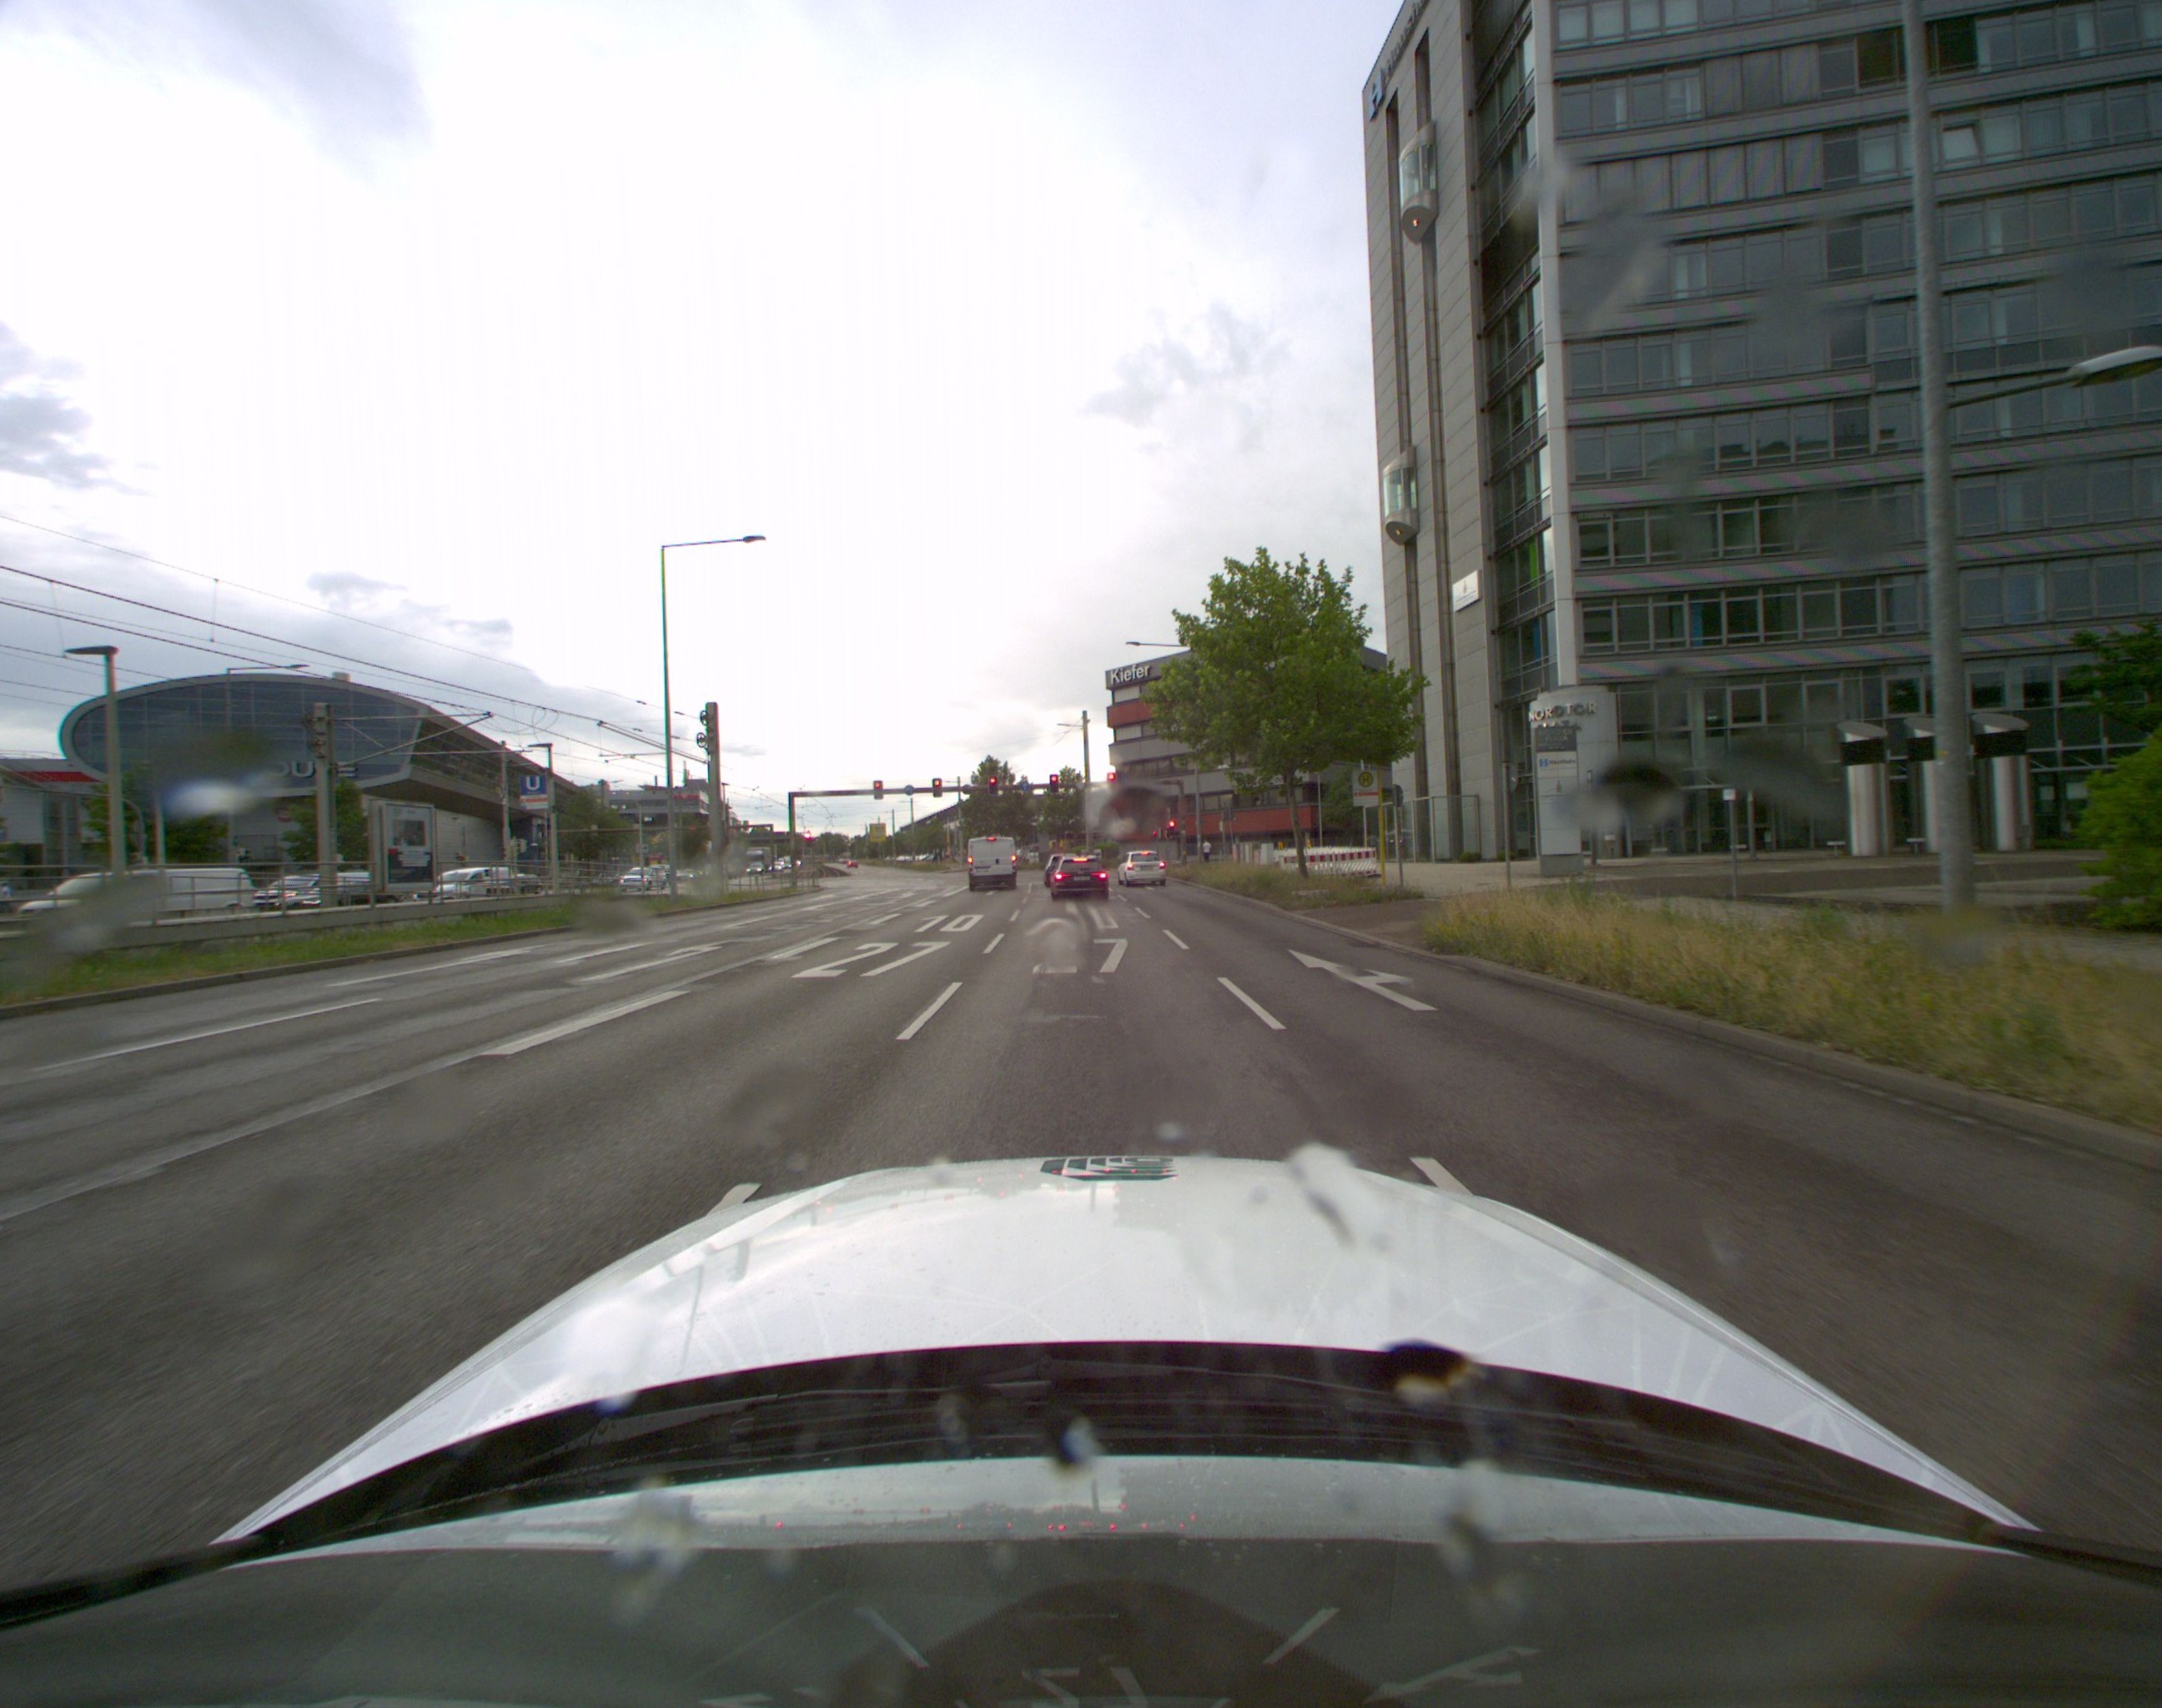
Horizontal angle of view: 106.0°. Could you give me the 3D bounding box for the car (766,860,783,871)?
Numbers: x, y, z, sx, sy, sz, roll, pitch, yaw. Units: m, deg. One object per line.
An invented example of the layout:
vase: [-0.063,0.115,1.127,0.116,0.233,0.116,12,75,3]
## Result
car: [-47.696,1.806,126.812,1.889,1.652,4.077,0,-1,-13]

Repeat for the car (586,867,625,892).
car: [-39.901,2.080,68.406,1.776,2.014,4.324,0,-1,-16]

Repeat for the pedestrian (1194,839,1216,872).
pedestrian: [8.319,0.083,54.579,1.140,2.125,1.221,-3,1,-2]

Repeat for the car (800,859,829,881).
car: [-26.162,1.558,80.009,1.770,2.013,4.340,0,0,-5]

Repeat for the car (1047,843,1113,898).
car: [-0.081,0.533,26.735,1.988,1.637,3.997,0,-1,-2]

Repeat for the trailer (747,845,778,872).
trailer: [-52.436,0.871,134.341,2.652,4.124,12.689,-3,0,-12]

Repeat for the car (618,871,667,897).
car: [-30.161,2.039,56.137,1.526,1.666,4.258,0,-1,-7]

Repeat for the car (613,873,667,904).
car: [-30.366,2.350,56.212,1.771,2.014,4.336,0,-1,-7]

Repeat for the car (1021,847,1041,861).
car: [-7.535,0.053,122.672,1.999,2.032,3.976,-3,0,-18]

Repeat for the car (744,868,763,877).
car: [-43.507,2.441,108.311,1.912,1.264,4.389,0,-1,-16]

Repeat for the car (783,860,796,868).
car: [-55.537,1.943,155.211,1.906,1.555,4.544,0,-1,-14]

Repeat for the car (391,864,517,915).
car: [-28.868,1.583,37.752,1.989,2.214,5.138,0,-1,-3]

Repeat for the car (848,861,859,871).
car: [-42.767,2.263,153.057,1.777,2.014,4.322,0,-1,-17]

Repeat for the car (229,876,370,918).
car: [-35.007,1.864,36.691,2.102,1.700,4.656,0,-1,-6]

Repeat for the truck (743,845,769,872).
truck: [-51.160,0.741,128.439,2.668,4.130,6.160,-2,-1,-12]

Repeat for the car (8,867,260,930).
car: [-28.536,1.263,24.879,1.990,1.731,5.022,0,-1,-4]

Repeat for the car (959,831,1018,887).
car: [-4.153,0.245,36.430,2.443,2.294,4.891,0,-1,-7]

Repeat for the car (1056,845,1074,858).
car: [-2.664,-0.403,134.995,1.878,2.014,3.745,0,-1,-23]

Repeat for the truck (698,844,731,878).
truck: [-45.753,0.891,101.880,2.839,3.996,5.952,-2,0,-17]

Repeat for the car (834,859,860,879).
car: [-24.447,1.551,85.183,1.770,2.013,4.340,0,0,-5]

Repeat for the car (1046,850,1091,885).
car: [-0.548,0.606,37.389,1.888,1.465,3.908,-2,-1,0]

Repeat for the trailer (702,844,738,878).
trailer: [-47.338,0.908,107.018,2.802,4.107,11.375,-3,0,-17]

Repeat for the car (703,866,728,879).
car: [-40.129,2.025,89.489,1.741,1.462,4.132,0,-1,-14]

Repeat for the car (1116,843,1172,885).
car: [2.639,0.452,34.921,1.825,1.656,3.995,-1,-1,-3]
